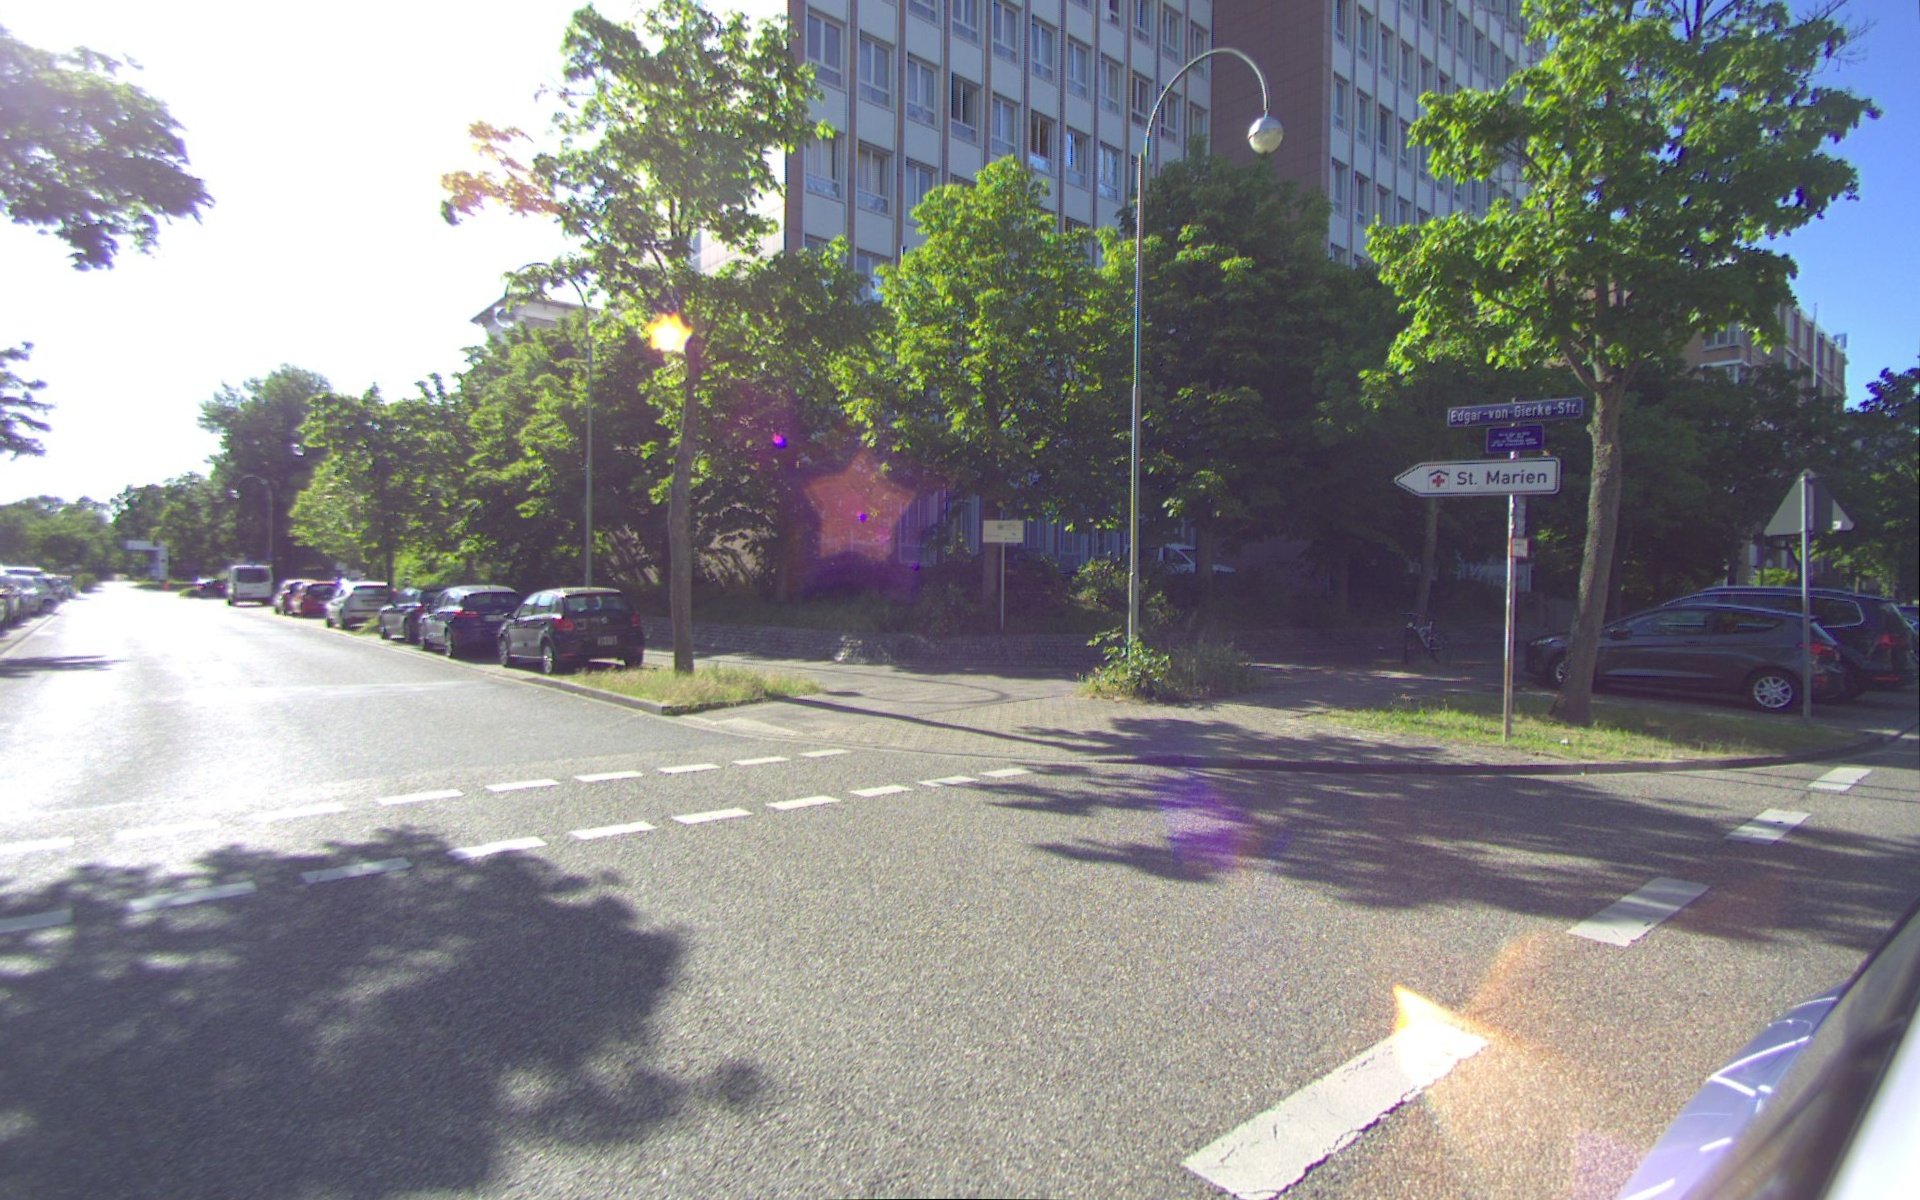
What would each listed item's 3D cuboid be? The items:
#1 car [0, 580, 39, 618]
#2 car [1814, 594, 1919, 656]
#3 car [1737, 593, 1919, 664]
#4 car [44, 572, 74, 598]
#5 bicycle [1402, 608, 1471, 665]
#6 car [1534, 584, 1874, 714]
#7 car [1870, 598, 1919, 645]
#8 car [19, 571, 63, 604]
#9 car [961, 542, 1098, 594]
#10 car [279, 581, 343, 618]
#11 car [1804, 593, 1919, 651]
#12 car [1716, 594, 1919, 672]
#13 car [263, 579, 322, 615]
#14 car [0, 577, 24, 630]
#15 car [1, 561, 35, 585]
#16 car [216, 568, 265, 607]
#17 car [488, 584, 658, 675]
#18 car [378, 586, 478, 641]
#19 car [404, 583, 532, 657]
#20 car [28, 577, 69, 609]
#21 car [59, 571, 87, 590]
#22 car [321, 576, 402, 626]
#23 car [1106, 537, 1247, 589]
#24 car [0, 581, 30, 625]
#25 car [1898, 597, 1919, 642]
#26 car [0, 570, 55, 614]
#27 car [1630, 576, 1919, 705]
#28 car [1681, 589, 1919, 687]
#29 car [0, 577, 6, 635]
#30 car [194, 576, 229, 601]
[{"bbox_3d":[-37.808,-0.062,40.050,1.888,1.464,3.993,0,0,-41],"label":"car"},{"bbox_3d":[25.238,0.663,26.956,1.694,1.525,3.579,0,2,-41],"label":"car"},{"bbox_3d":[21.834,0.656,24.592,1.827,1.573,4.427,0,1,-41],"label":"car"},{"bbox_3d":[-68.378,-1.110,76.838,1.648,1.957,3.764,0,0,-42],"label":"car"},{"bbox_3d":[8.848,0.653,18.747,1.921,1.006,0.303,0,0,-37],"label":"bicycle"},{"bbox_3d":[11.050,0.641,15.228,1.565,1.464,3.841,2,2,-43],"label":"car"},{"bbox_3d":[32.394,0.747,33.443,1.559,1.497,3.206,0,2,-37],"label":"car"},{"bbox_3d":[-57.455,-0.780,63.327,1.965,1.971,3.993,0,0,-41],"label":"car"},{"bbox_3d":[2.129,-1.000,31.849,4.225,1.525,1.697,2,1,44],"label":"car"},{"bbox_3d":[-26.870,-0.031,41.857,1.737,1.442,3.867,0,0,-41],"label":"car"},{"bbox_3d":[26.779,0.607,28.885,1.656,1.569,3.974,0,1,-44],"label":"car"},{"bbox_3d":[19.713,0.685,23.036,1.694,1.499,3.717,0,2,-41],"label":"car"},{"bbox_3d":[-29.982,-0.148,45.425,1.618,1.573,3.992,0,0,-42],"label":"car"},{"bbox_3d":[-30.109,0.082,31.130,1.803,1.563,4.012,0,0,-41],"label":"car"},{"bbox_3d":[-82.862,-2.329,89.006,3.987,2.039,1.968,0,0,44],"label":"car"},{"bbox_3d":[-41.800,-0.727,58.786,1.965,2.208,3.993,0,0,-41],"label":"car"},{"bbox_3d":[-7.199,0.461,18.590,1.738,1.466,3.995,-1,1,-39],"label":"car"},{"bbox_3d":[-13.803,0.299,26.192,1.525,1.321,3.497,0,0,-41],"label":"car"},{"bbox_3d":[-10.850,0.382,22.196,1.621,1.488,3.851,0,0,-41],"label":"car"},{"bbox_3d":[-49.838,-0.390,55.372,1.648,1.724,3.764,0,0,-42],"label":"car"},{"bbox_3d":[-95.815,-2.098,109.300,3.987,2.039,1.968,0,0,44],"label":"car"},{"bbox_3d":[-19.412,0.024,32.759,1.680,1.512,3.767,0,0,-40],"label":"car"},{"bbox_3d":[7.657,-1.269,36.112,1.845,1.707,4.719,0,1,-44],"label":"car"},{"bbox_3d":[-34.021,0.083,35.619,1.803,1.495,4.012,0,0,-41],"label":"car"},{"bbox_3d":[36.832,0.779,37.304,1.575,1.624,3.055,0,2,-38],"label":"car"},{"bbox_3d":[-41.142,-0.344,44.505,1.965,1.822,4.443,0,0,-41],"label":"car"},{"bbox_3d":[13.389,0.543,16.536,1.693,1.772,3.683,0,2,-38],"label":"car"},{"bbox_3d":[16.317,0.653,19.335,1.780,1.584,3.873,0,3,-45],"label":"car"},{"bbox_3d":[-26.644,0.149,26.842,1.803,1.520,4.012,0,0,-41],"label":"car"},{"bbox_3d":[-58.923,-0.878,79.641,1.965,1.896,3.993,0,0,-41],"label":"car"}]
